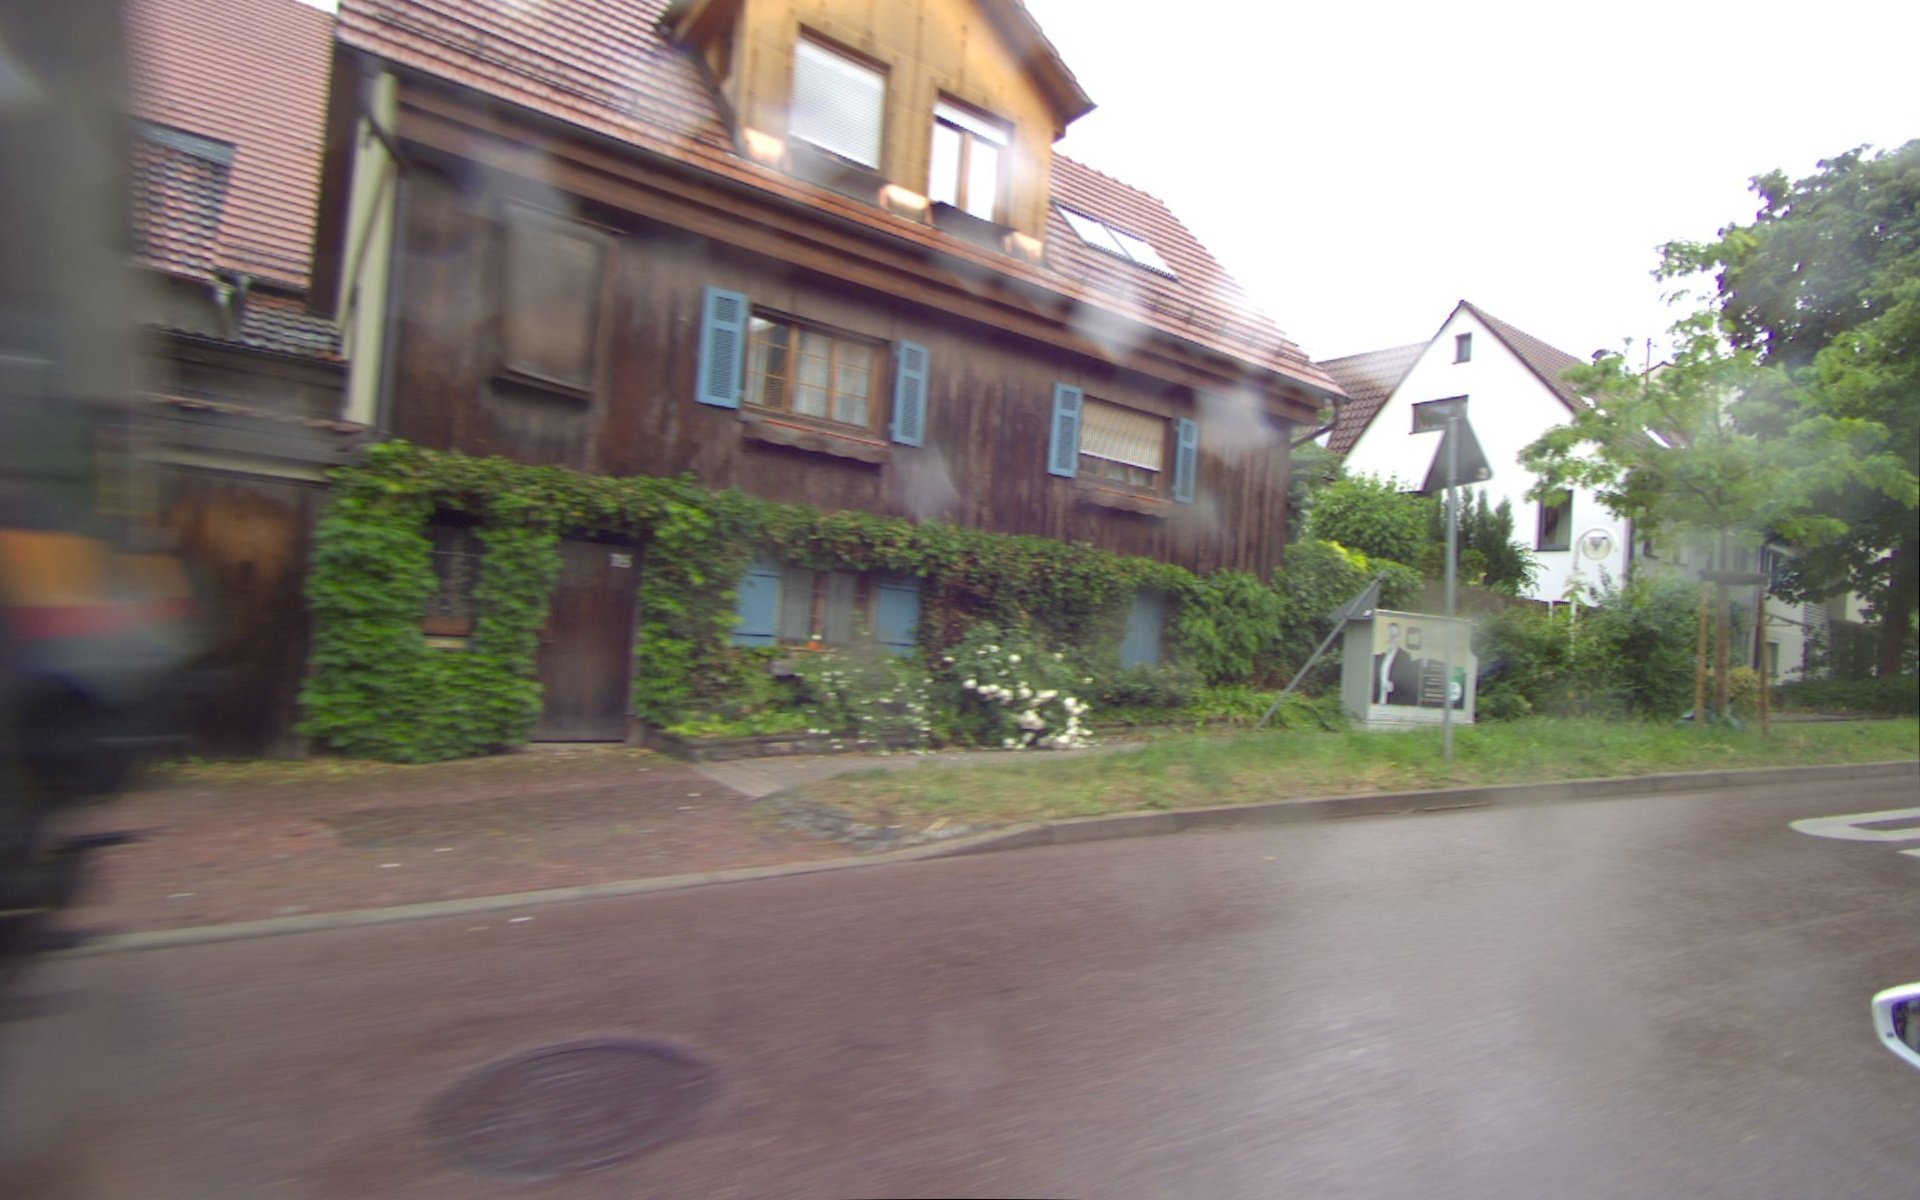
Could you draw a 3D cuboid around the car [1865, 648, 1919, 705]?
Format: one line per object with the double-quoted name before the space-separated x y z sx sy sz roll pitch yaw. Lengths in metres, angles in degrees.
"car" 25.524 1.997 26.296 3.412 1.347 1.981 2 0 -34
